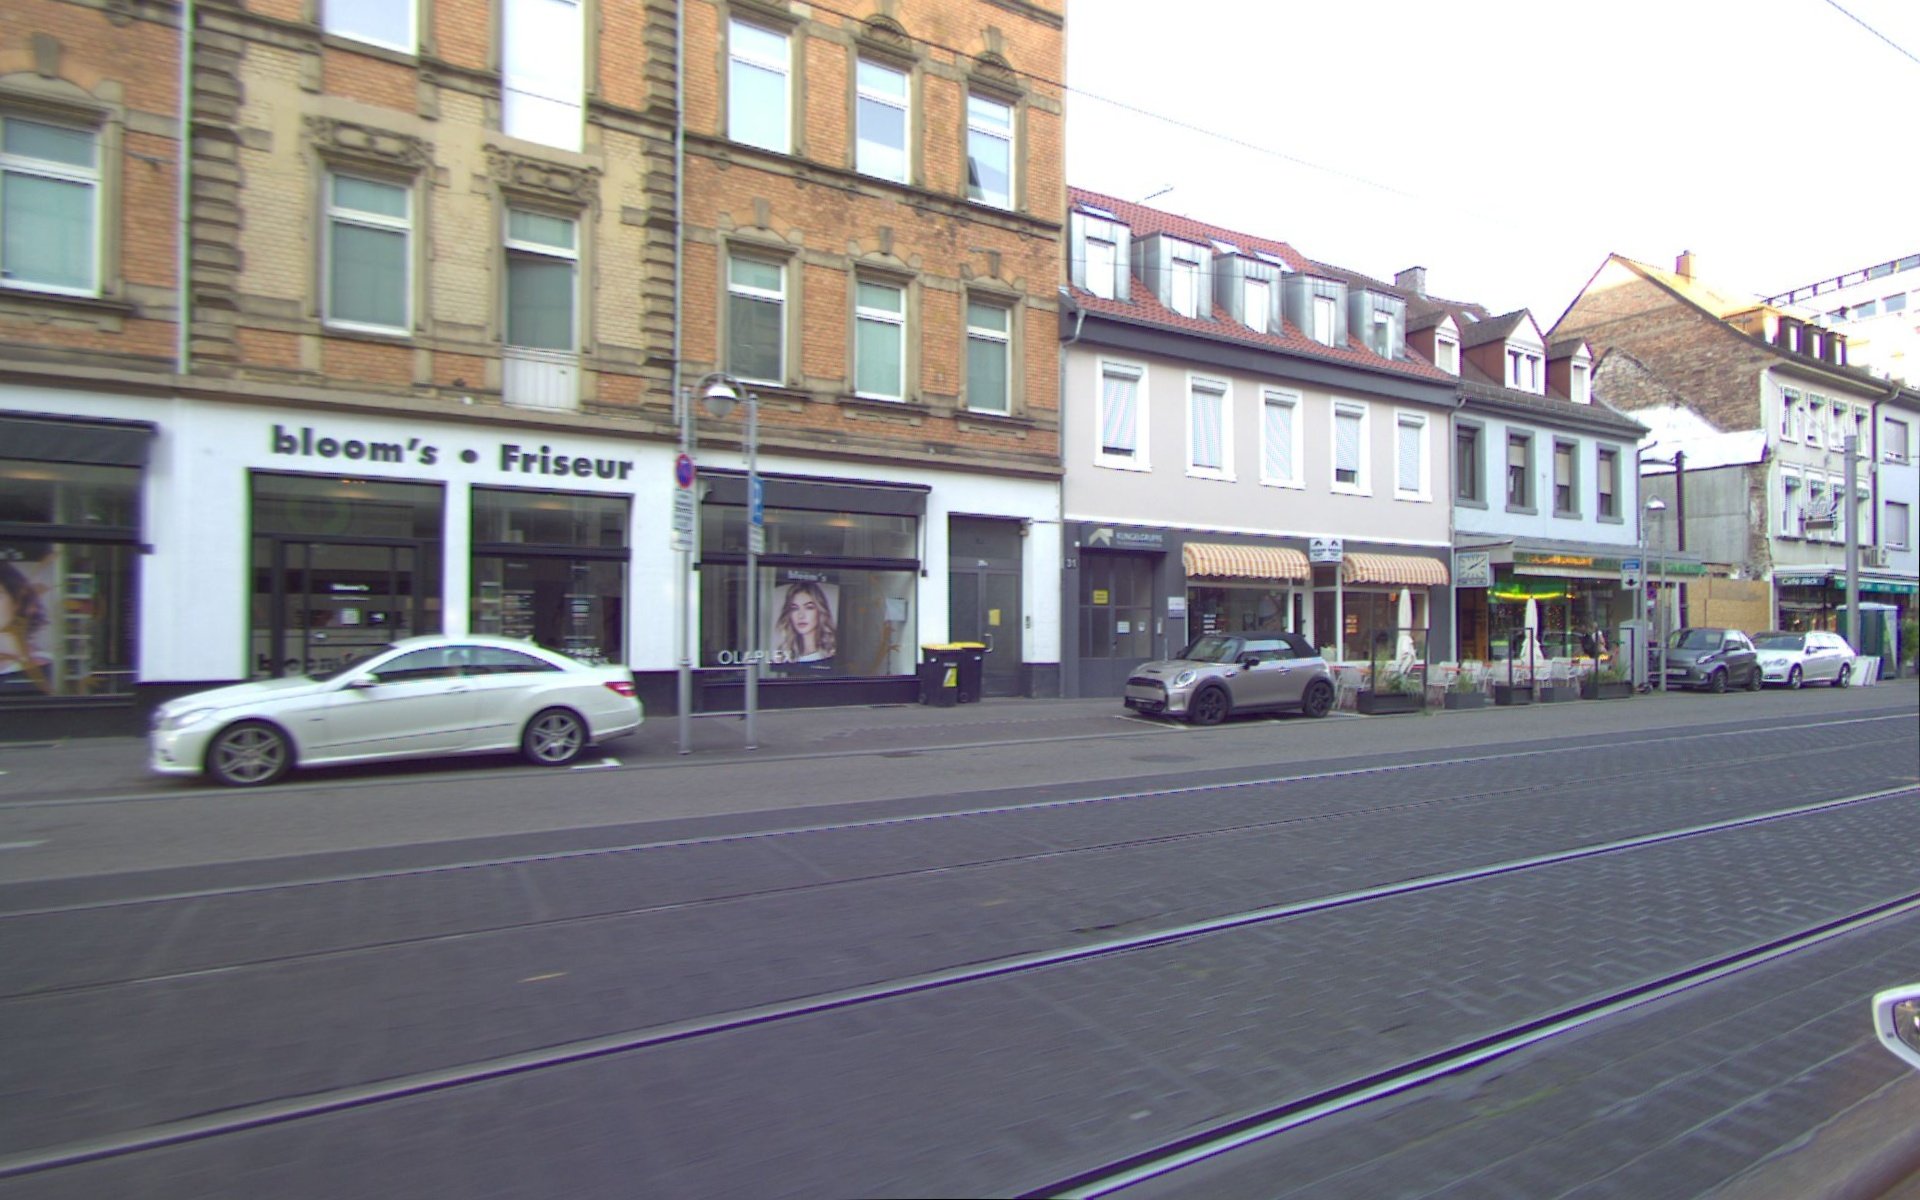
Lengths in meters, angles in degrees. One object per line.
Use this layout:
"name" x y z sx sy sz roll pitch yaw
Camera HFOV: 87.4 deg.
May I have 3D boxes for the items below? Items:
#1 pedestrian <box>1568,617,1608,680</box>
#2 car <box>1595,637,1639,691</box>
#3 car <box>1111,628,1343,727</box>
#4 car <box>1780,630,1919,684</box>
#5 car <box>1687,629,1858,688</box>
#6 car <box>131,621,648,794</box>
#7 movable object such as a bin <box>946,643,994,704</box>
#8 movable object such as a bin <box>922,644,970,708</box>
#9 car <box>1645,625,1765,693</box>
"pedestrian" 16.955 1.301 27.118 0.686 1.666 0.659 1 -1 -29
"car" 15.352 1.485 23.483 0.336 1.251 0.779 1 -2 -31
"car" 4.541 1.231 16.991 3.766 1.459 1.591 1 0 -29
"car" 26.495 1.641 29.740 4.277 1.472 1.985 1 -1 -29
"car" 21.999 1.527 27.161 4.763 1.472 1.985 1 -1 -29
"car" -5.980 1.021 11.005 4.561 1.472 1.857 1 1 -33
"movable object such as a bin" 0.179 1.326 18.199 0.686 1.047 0.492 1 1 -30
"movable object such as a bin" -0.251 1.305 17.500 0.652 1.057 0.515 1 1 -30
"car" 18.398 1.416 24.799 2.763 1.598 1.469 1 -2 -32
